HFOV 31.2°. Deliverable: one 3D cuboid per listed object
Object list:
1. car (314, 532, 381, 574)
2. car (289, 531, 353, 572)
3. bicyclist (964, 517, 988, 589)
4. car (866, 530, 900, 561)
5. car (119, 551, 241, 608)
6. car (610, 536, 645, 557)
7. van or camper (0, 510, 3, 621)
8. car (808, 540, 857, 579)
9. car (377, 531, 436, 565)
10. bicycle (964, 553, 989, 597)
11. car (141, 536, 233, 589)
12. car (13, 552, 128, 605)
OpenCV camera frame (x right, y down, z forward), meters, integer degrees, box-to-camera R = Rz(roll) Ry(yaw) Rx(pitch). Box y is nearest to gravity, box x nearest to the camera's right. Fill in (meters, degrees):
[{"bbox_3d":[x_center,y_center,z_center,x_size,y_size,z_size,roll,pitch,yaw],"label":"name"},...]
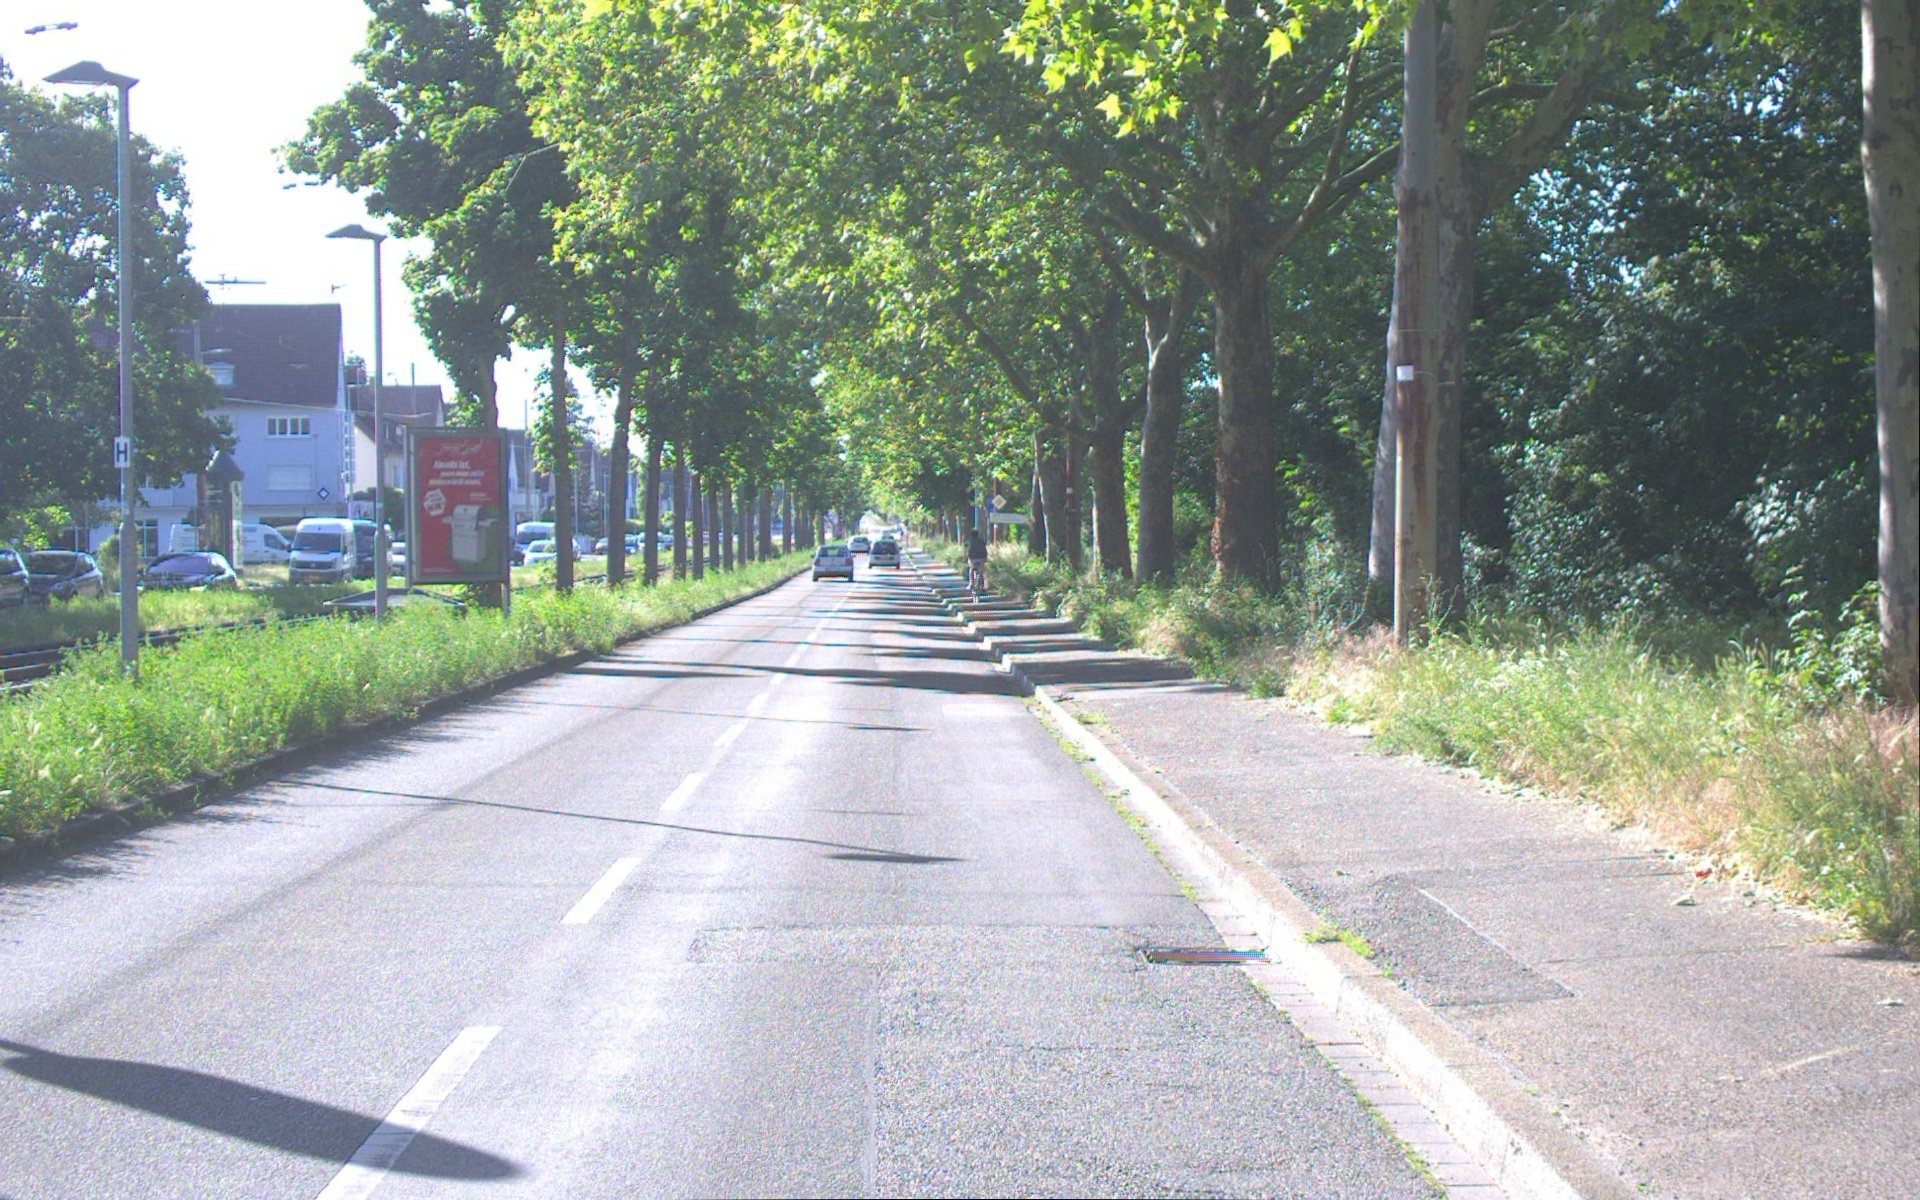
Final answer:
[{"bbox_3d":[-24.575,-1.885,138.115,1.920,1.622,4.000,-1,1,0],"label":"car"},{"bbox_3d":[-24.239,-1.843,130.506,1.744,1.491,3.592,-1,1,0],"label":"car"},{"bbox_3d":[0.390,-1.160,84.458,0.534,1.763,0.713,-1,1,-3],"label":"bicyclist"},{"bbox_3d":[-4.027,-2.868,180.866,1.750,1.599,3.750,0,1,-1],"label":"car"},{"bbox_3d":[-18.391,-0.504,81.183,1.920,1.262,4.000,-1,1,0],"label":"car"},{"bbox_3d":[-20.934,-3.401,216.404,1.920,1.262,4.000,-1,1,-2],"label":"car"},{"bbox_3d":[-22.864,-0.975,74.155,2.589,3.095,6.789,-1,1,-1],"label":"van or camper"},{"bbox_3d":[-5.000,-1.607,135.065,1.867,1.481,3.556,0,1,-1],"label":"car"},{"bbox_3d":[-24.481,-2.319,152.151,1.920,1.433,4.000,-1,1,0],"label":"car"},{"bbox_3d":[0.400,-0.621,84.429,0.536,1.062,1.434,-1,1,-3],"label":"bicycle"},{"bbox_3d":[-24.010,-1.191,106.909,1.920,1.571,4.000,-1,1,0],"label":"car"},{"bbox_3d":[-22.752,-0.572,88.067,1.920,1.262,4.000,-1,1,-1],"label":"car"}]
